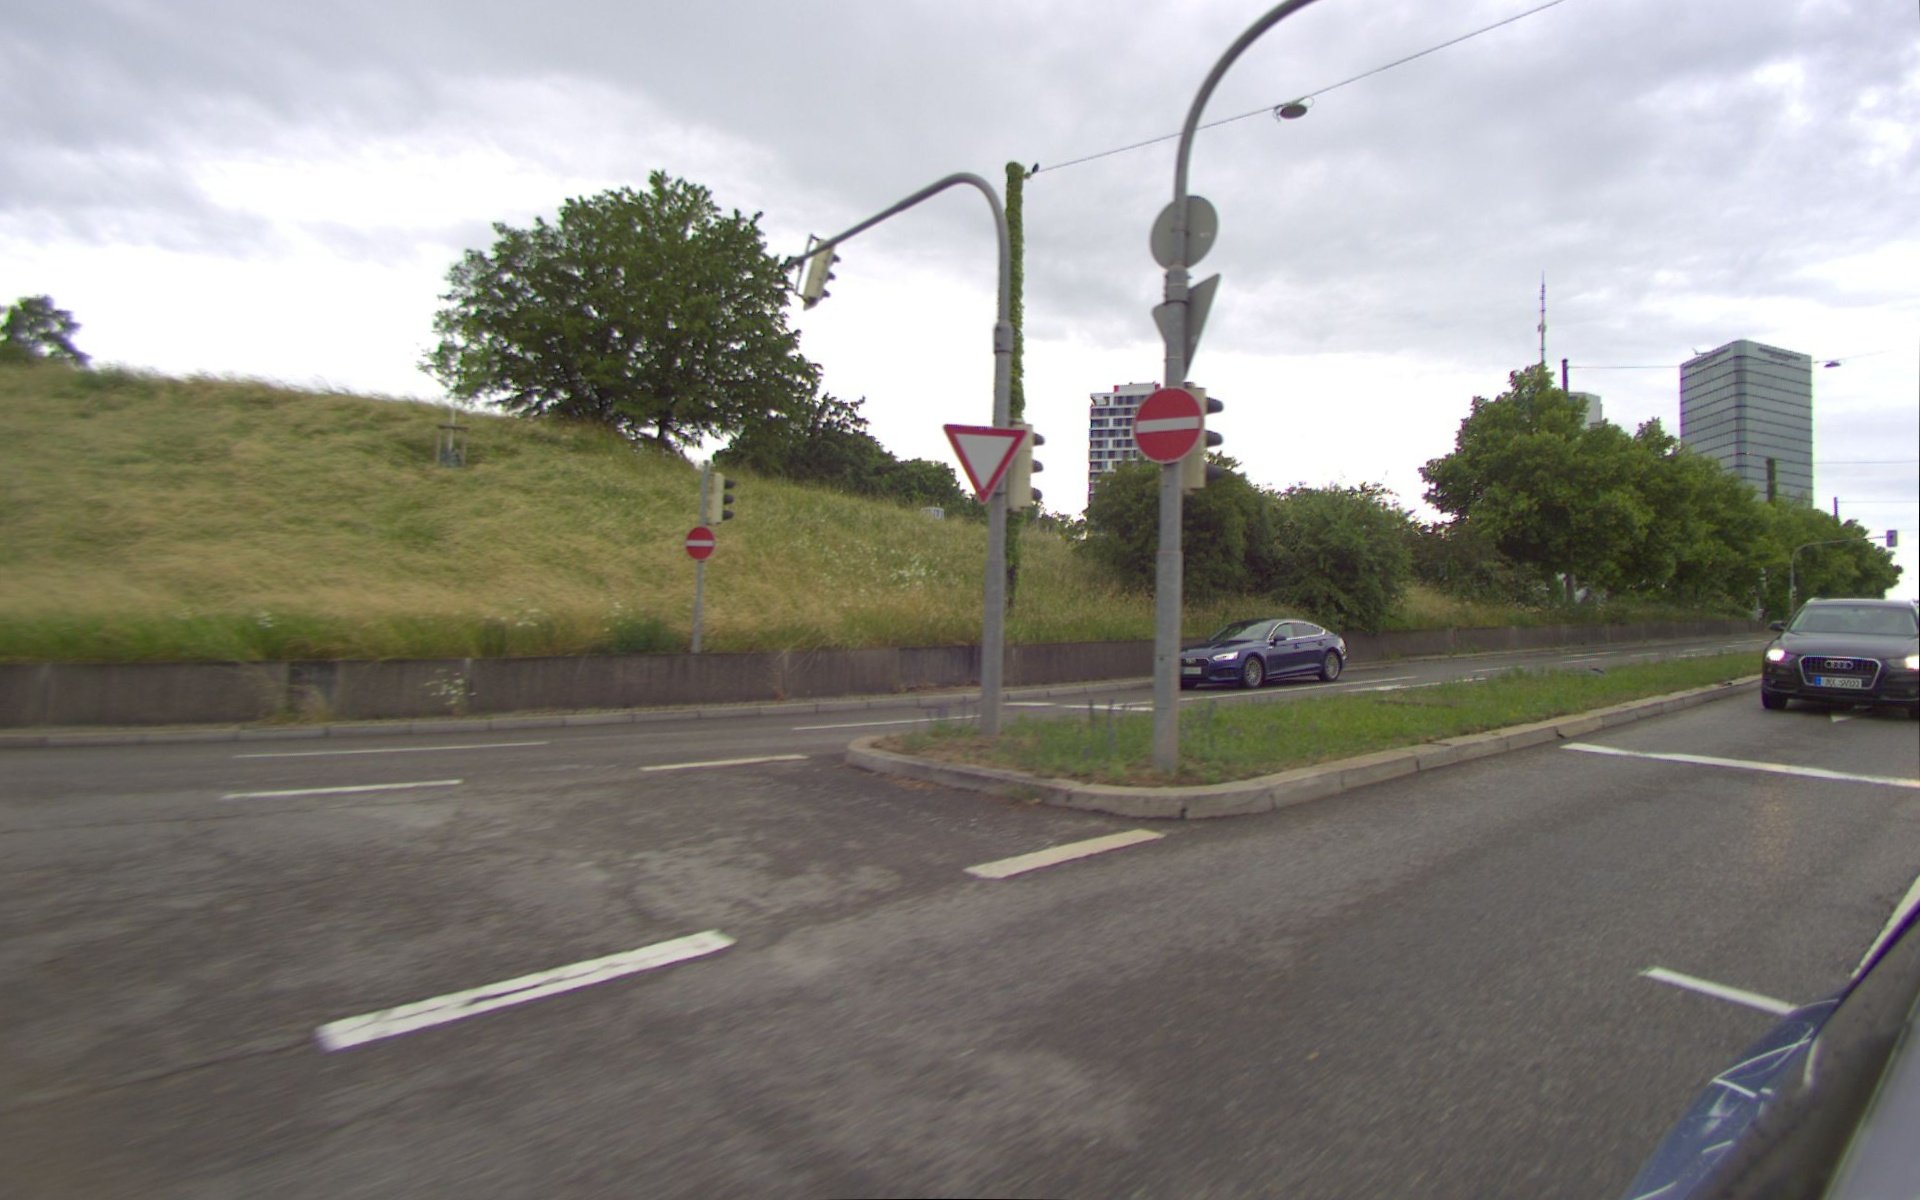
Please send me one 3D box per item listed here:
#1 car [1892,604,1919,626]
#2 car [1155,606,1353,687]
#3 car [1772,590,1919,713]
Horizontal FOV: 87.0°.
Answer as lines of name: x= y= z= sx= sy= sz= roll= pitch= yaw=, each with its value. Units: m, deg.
car: x=72.595 y=1.158 z=77.466 sx=1.629 sy=1.495 sz=3.621 roll=0 pitch=-4 yaw=41
car: x=6.188 y=0.889 z=21.086 sx=4.271 sy=1.443 sz=1.875 roll=-1 pitch=0 yaw=-40
car: x=13.168 y=0.638 z=14.607 sx=4.058 sy=1.553 sz=1.727 roll=-1 pitch=0 yaw=-44
